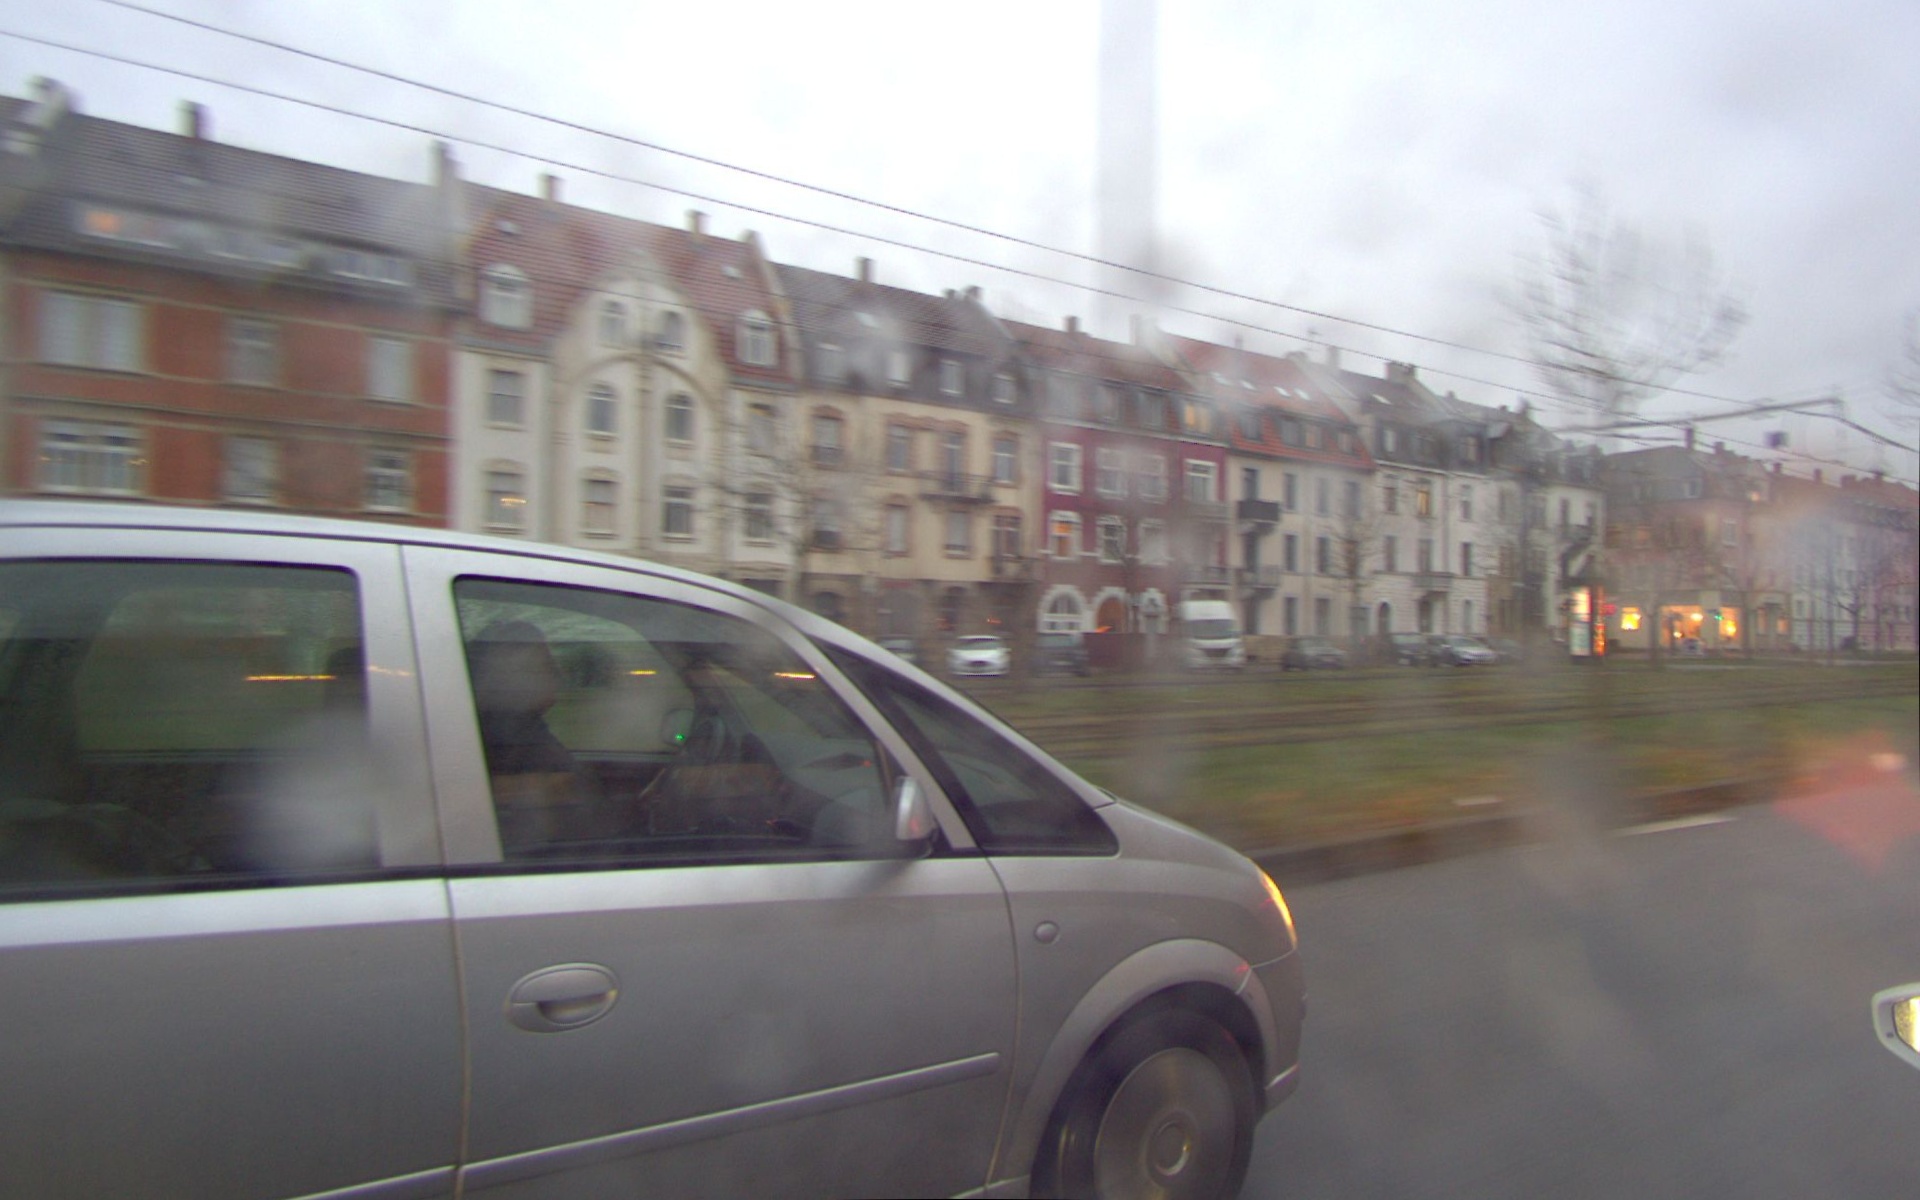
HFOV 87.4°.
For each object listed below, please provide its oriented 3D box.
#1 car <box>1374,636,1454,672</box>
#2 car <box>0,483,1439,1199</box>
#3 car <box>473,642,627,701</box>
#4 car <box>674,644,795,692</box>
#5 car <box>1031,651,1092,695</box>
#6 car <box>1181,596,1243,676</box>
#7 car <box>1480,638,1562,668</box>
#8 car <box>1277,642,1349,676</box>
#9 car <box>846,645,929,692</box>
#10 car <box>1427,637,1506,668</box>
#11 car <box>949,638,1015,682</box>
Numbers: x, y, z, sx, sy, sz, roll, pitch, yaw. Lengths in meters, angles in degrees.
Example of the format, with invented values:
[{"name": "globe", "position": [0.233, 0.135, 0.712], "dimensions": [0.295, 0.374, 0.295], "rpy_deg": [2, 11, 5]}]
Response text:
[{"name": "car", "position": [20.221, 2.384, 44.901], "dimensions": [1.960, 1.505, 4.002], "rpy_deg": [0, -2, 4]}, {"name": "car", "position": [-0.909, 0.694, 2.403], "dimensions": [4.006, 1.621, 1.800], "rpy_deg": [1, -1, -31]}, {"name": "car", "position": [-10.180, 1.733, 25.294], "dimensions": [1.960, 1.349, 4.003], "rpy_deg": [0, -2, 5]}, {"name": "car", "position": [-6.046, 1.803, 27.401], "dimensions": [1.959, 1.184, 4.003], "rpy_deg": [0, -2, 7]}, {"name": "car", "position": [3.510, 2.459, 34.425], "dimensions": [1.959, 1.349, 4.003], "rpy_deg": [0, -2, 7]}, {"name": "car", "position": [9.557, 1.390, 38.476], "dimensions": [1.959, 2.834, 5.872], "rpy_deg": [0, -2, 11]}, {"name": "car", "position": [26.356, 2.459, 47.366], "dimensions": [1.959, 1.349, 4.003], "rpy_deg": [0, -2, 7]}, {"name": "car", "position": [14.580, 2.415, 41.671], "dimensions": [1.959, 1.349, 4.003], "rpy_deg": [0, -2, 7]}, {"name": "car", "position": [-2.180, 2.085, 31.293], "dimensions": [1.960, 1.349, 4.003], "rpy_deg": [0, -2, 5]}, {"name": "car", "position": [23.106, 2.365, 46.027], "dimensions": [1.959, 1.349, 4.003], "rpy_deg": [0, -2, 7]}, {"name": "car", "position": [0.794, 1.912, 32.826], "dimensions": [1.960, 1.349, 4.003], "rpy_deg": [0, -2, 4]}]
